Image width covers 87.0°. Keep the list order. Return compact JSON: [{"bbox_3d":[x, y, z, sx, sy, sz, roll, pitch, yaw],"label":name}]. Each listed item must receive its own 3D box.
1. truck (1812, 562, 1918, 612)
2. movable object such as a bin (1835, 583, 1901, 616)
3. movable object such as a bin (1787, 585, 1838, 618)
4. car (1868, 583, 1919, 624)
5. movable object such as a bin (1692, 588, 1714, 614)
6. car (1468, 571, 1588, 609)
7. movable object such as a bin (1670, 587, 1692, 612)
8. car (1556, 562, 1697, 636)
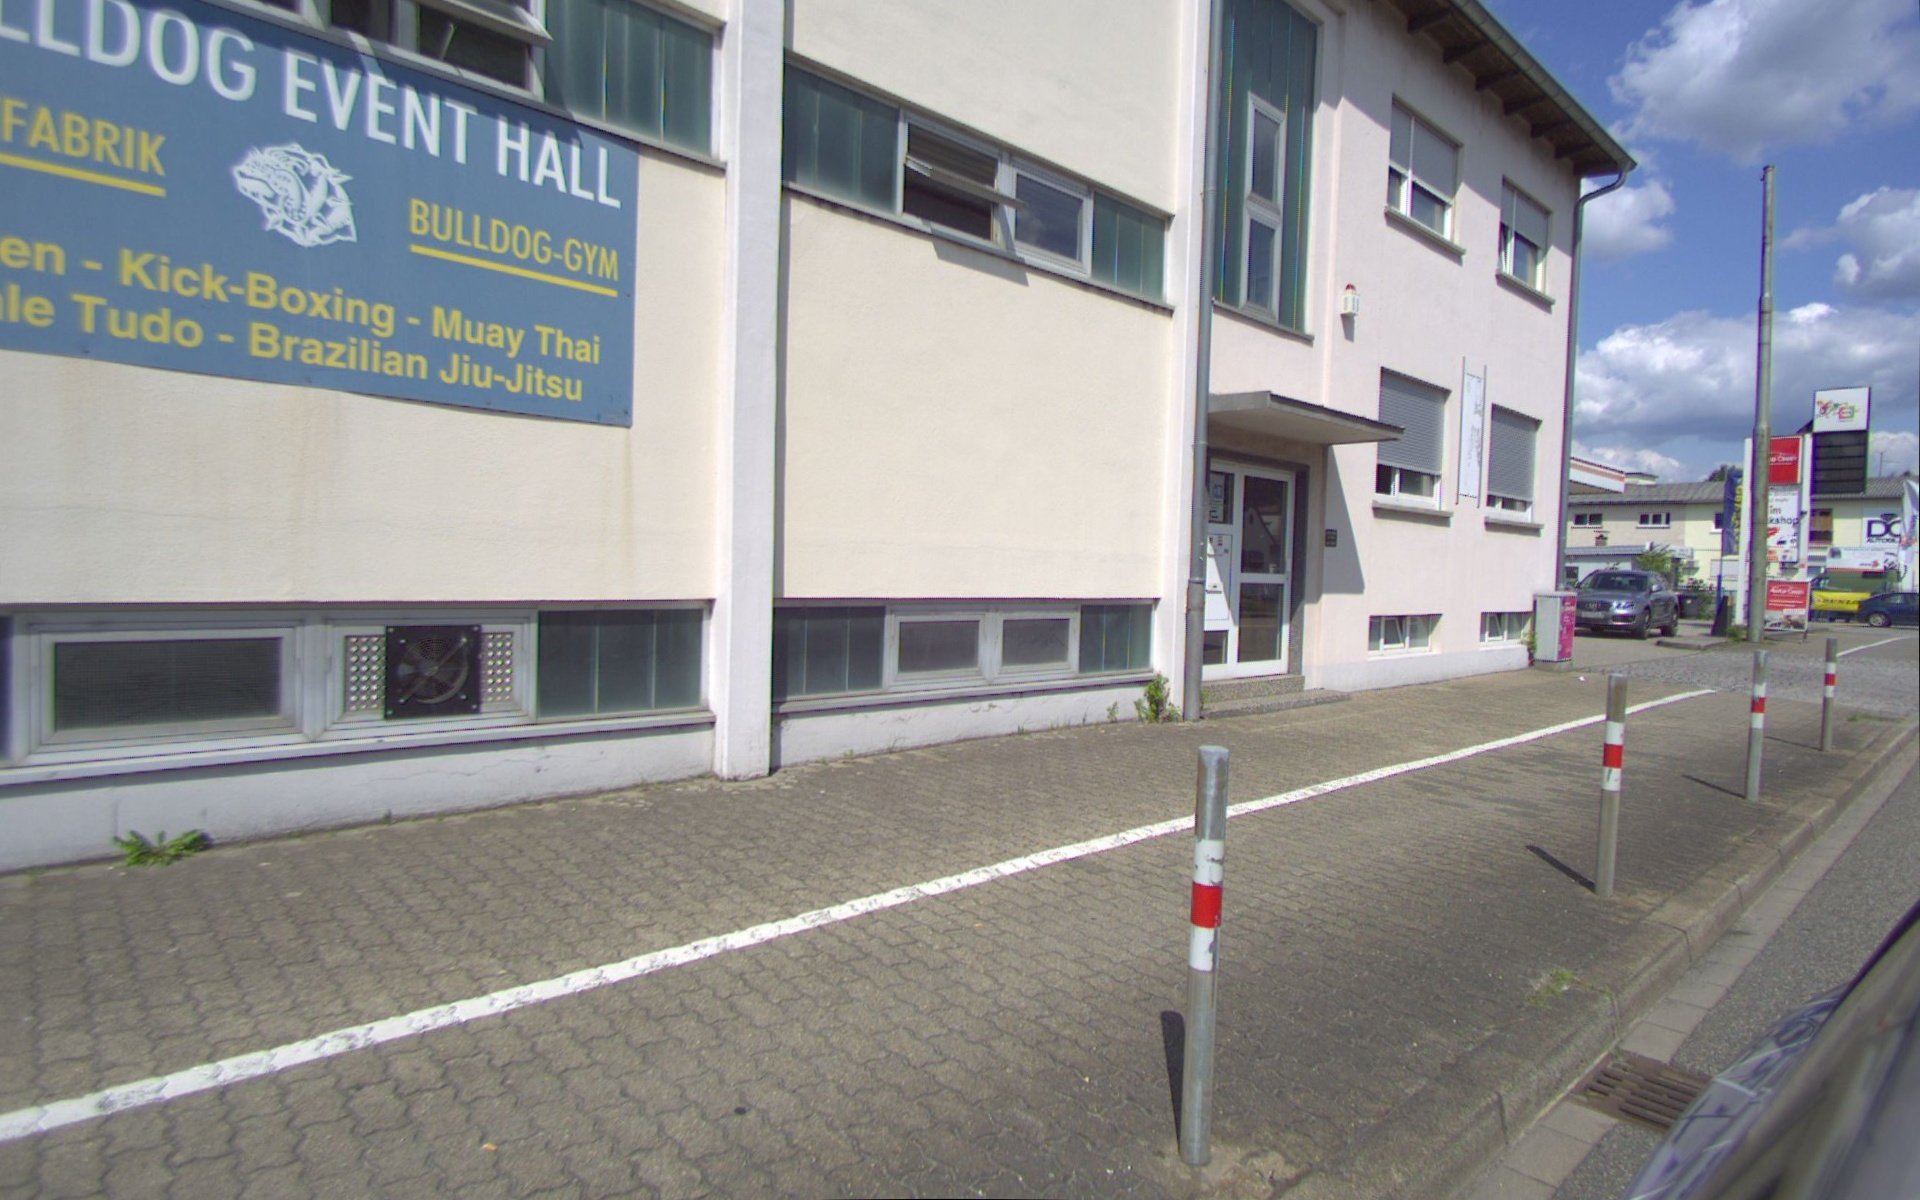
[{"bbox_3d":[50.437,-0.761,56.450,2.071,2.693,4.179,-1,1,-40],"label":"truck"},{"bbox_3d":[39.298,-0.045,43.823,1.679,1.364,1.965,-1,1,-42],"label":"movable object such as a bin"},{"bbox_3d":[38.075,0.036,45.224,1.735,1.427,1.534,-1,1,-42],"label":"movable object such as a bin"},{"bbox_3d":[36.332,0.165,37.278,1.617,1.425,4.064,-1,3,-38],"label":"car"},{"bbox_3d":[29.936,0.023,40.786,0.695,1.023,0.581,-1,1,-43],"label":"movable object such as a bin"},{"bbox_3d":[24.589,-0.480,43.906,1.740,1.441,4.145,-1,4,-40],"label":"car"},{"bbox_3d":[29.381,-0.030,41.236,0.695,1.023,0.581,-1,1,-43],"label":"movable object such as a bin"},{"bbox_3d":[16.754,-0.078,25.360,4.539,1.645,1.948,-1,3,-44],"label":"car"}]
